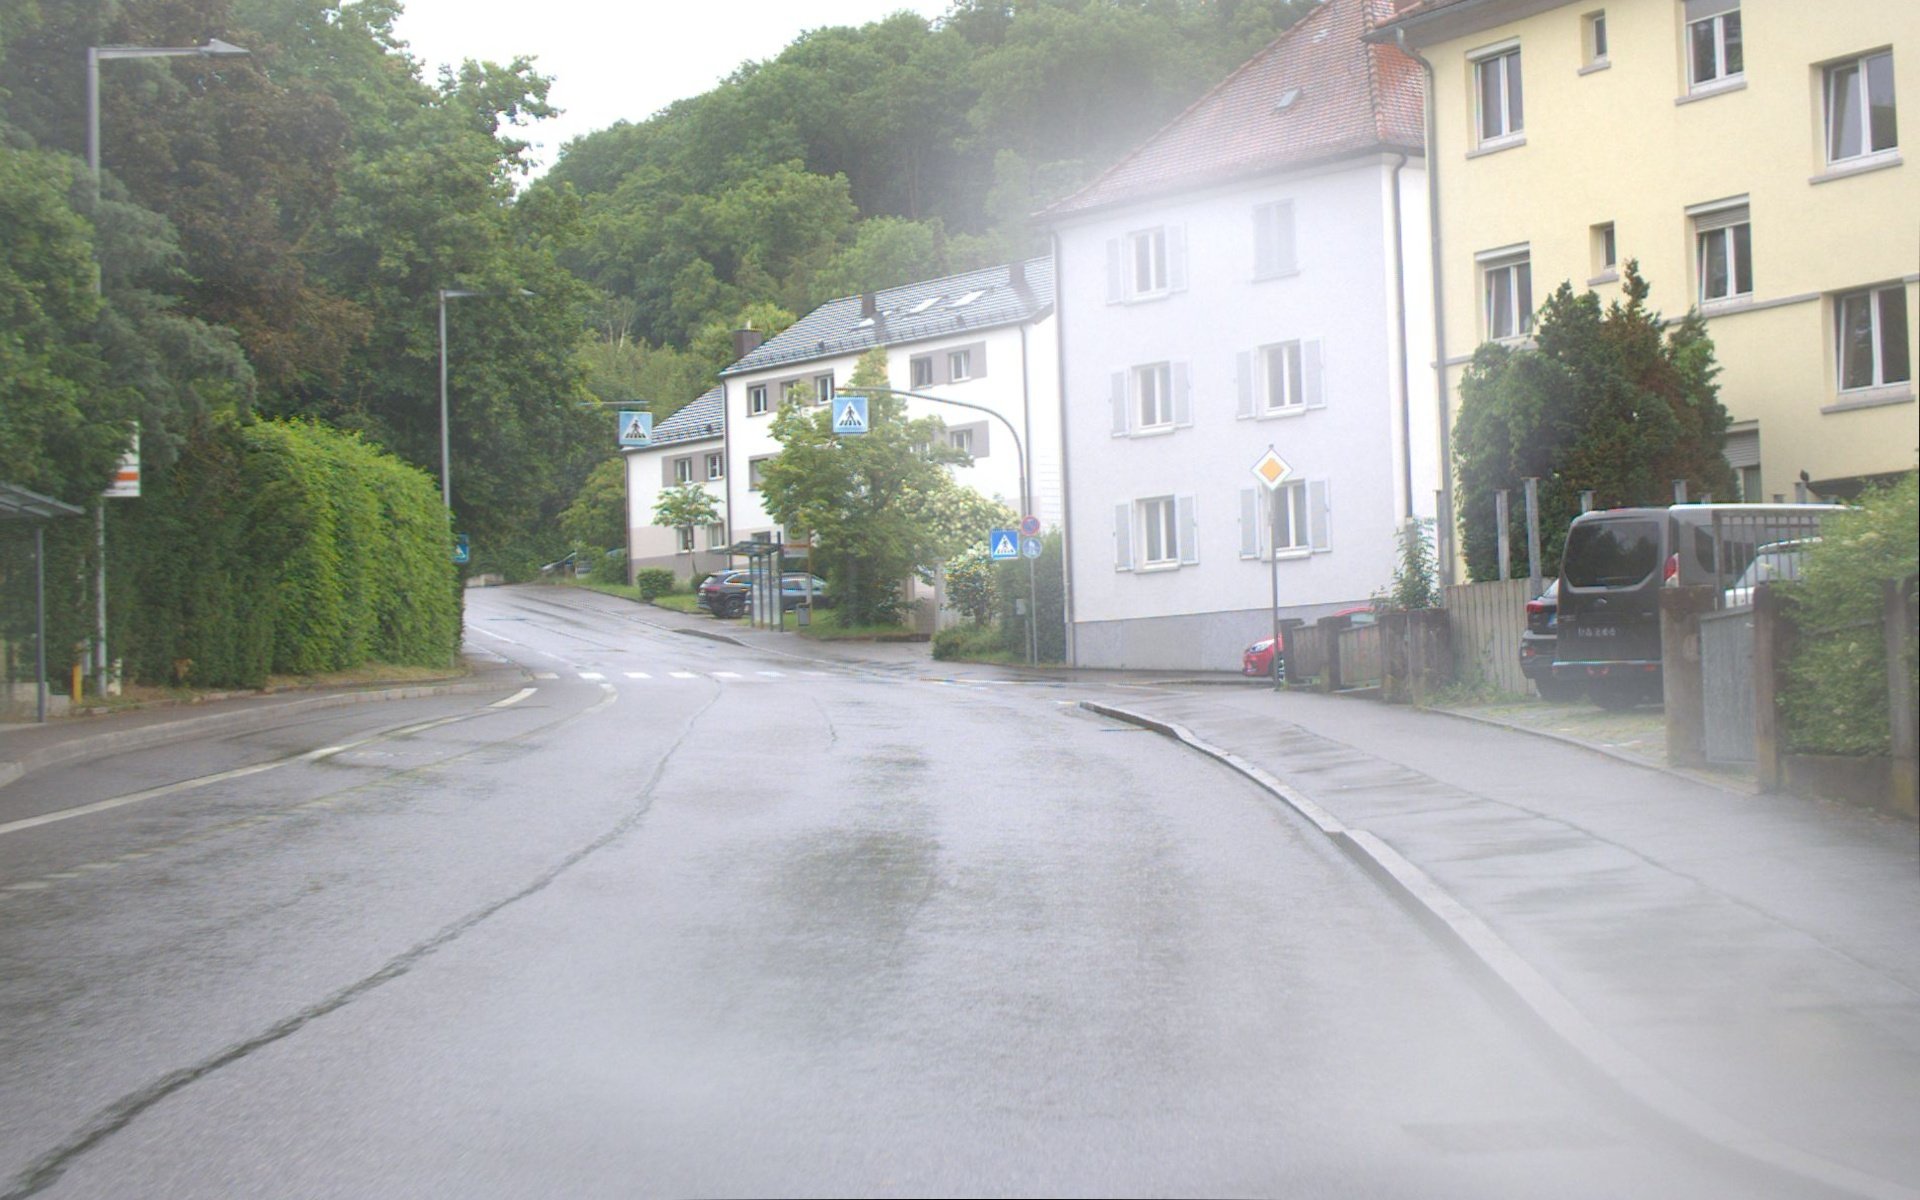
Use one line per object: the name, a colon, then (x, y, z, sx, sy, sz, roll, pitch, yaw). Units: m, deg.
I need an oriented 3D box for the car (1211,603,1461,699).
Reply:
car: (6.760, 0.929, 61.920, 3.986, 1.612, 2.000, 2, -2, -20)

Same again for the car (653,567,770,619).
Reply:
car: (-8.995, -0.244, 124.358, 3.986, 1.766, 2.000, 1, -2, -11)

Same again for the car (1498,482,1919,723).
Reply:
car: (7.117, 0.068, 30.958, 3.986, 2.007, 2.000, 2, -2, -20)

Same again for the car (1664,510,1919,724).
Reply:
car: (8.178, 0.199, 28.816, 3.986, 1.678, 2.000, 2, -2, -20)

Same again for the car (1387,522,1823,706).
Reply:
car: (6.714, 0.176, 35.888, 3.986, 1.766, 2.000, 2, -2, -20)

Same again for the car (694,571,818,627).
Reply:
car: (-6.983, -0.029, 117.471, 3.986, 1.766, 2.000, 1, -2, -11)
